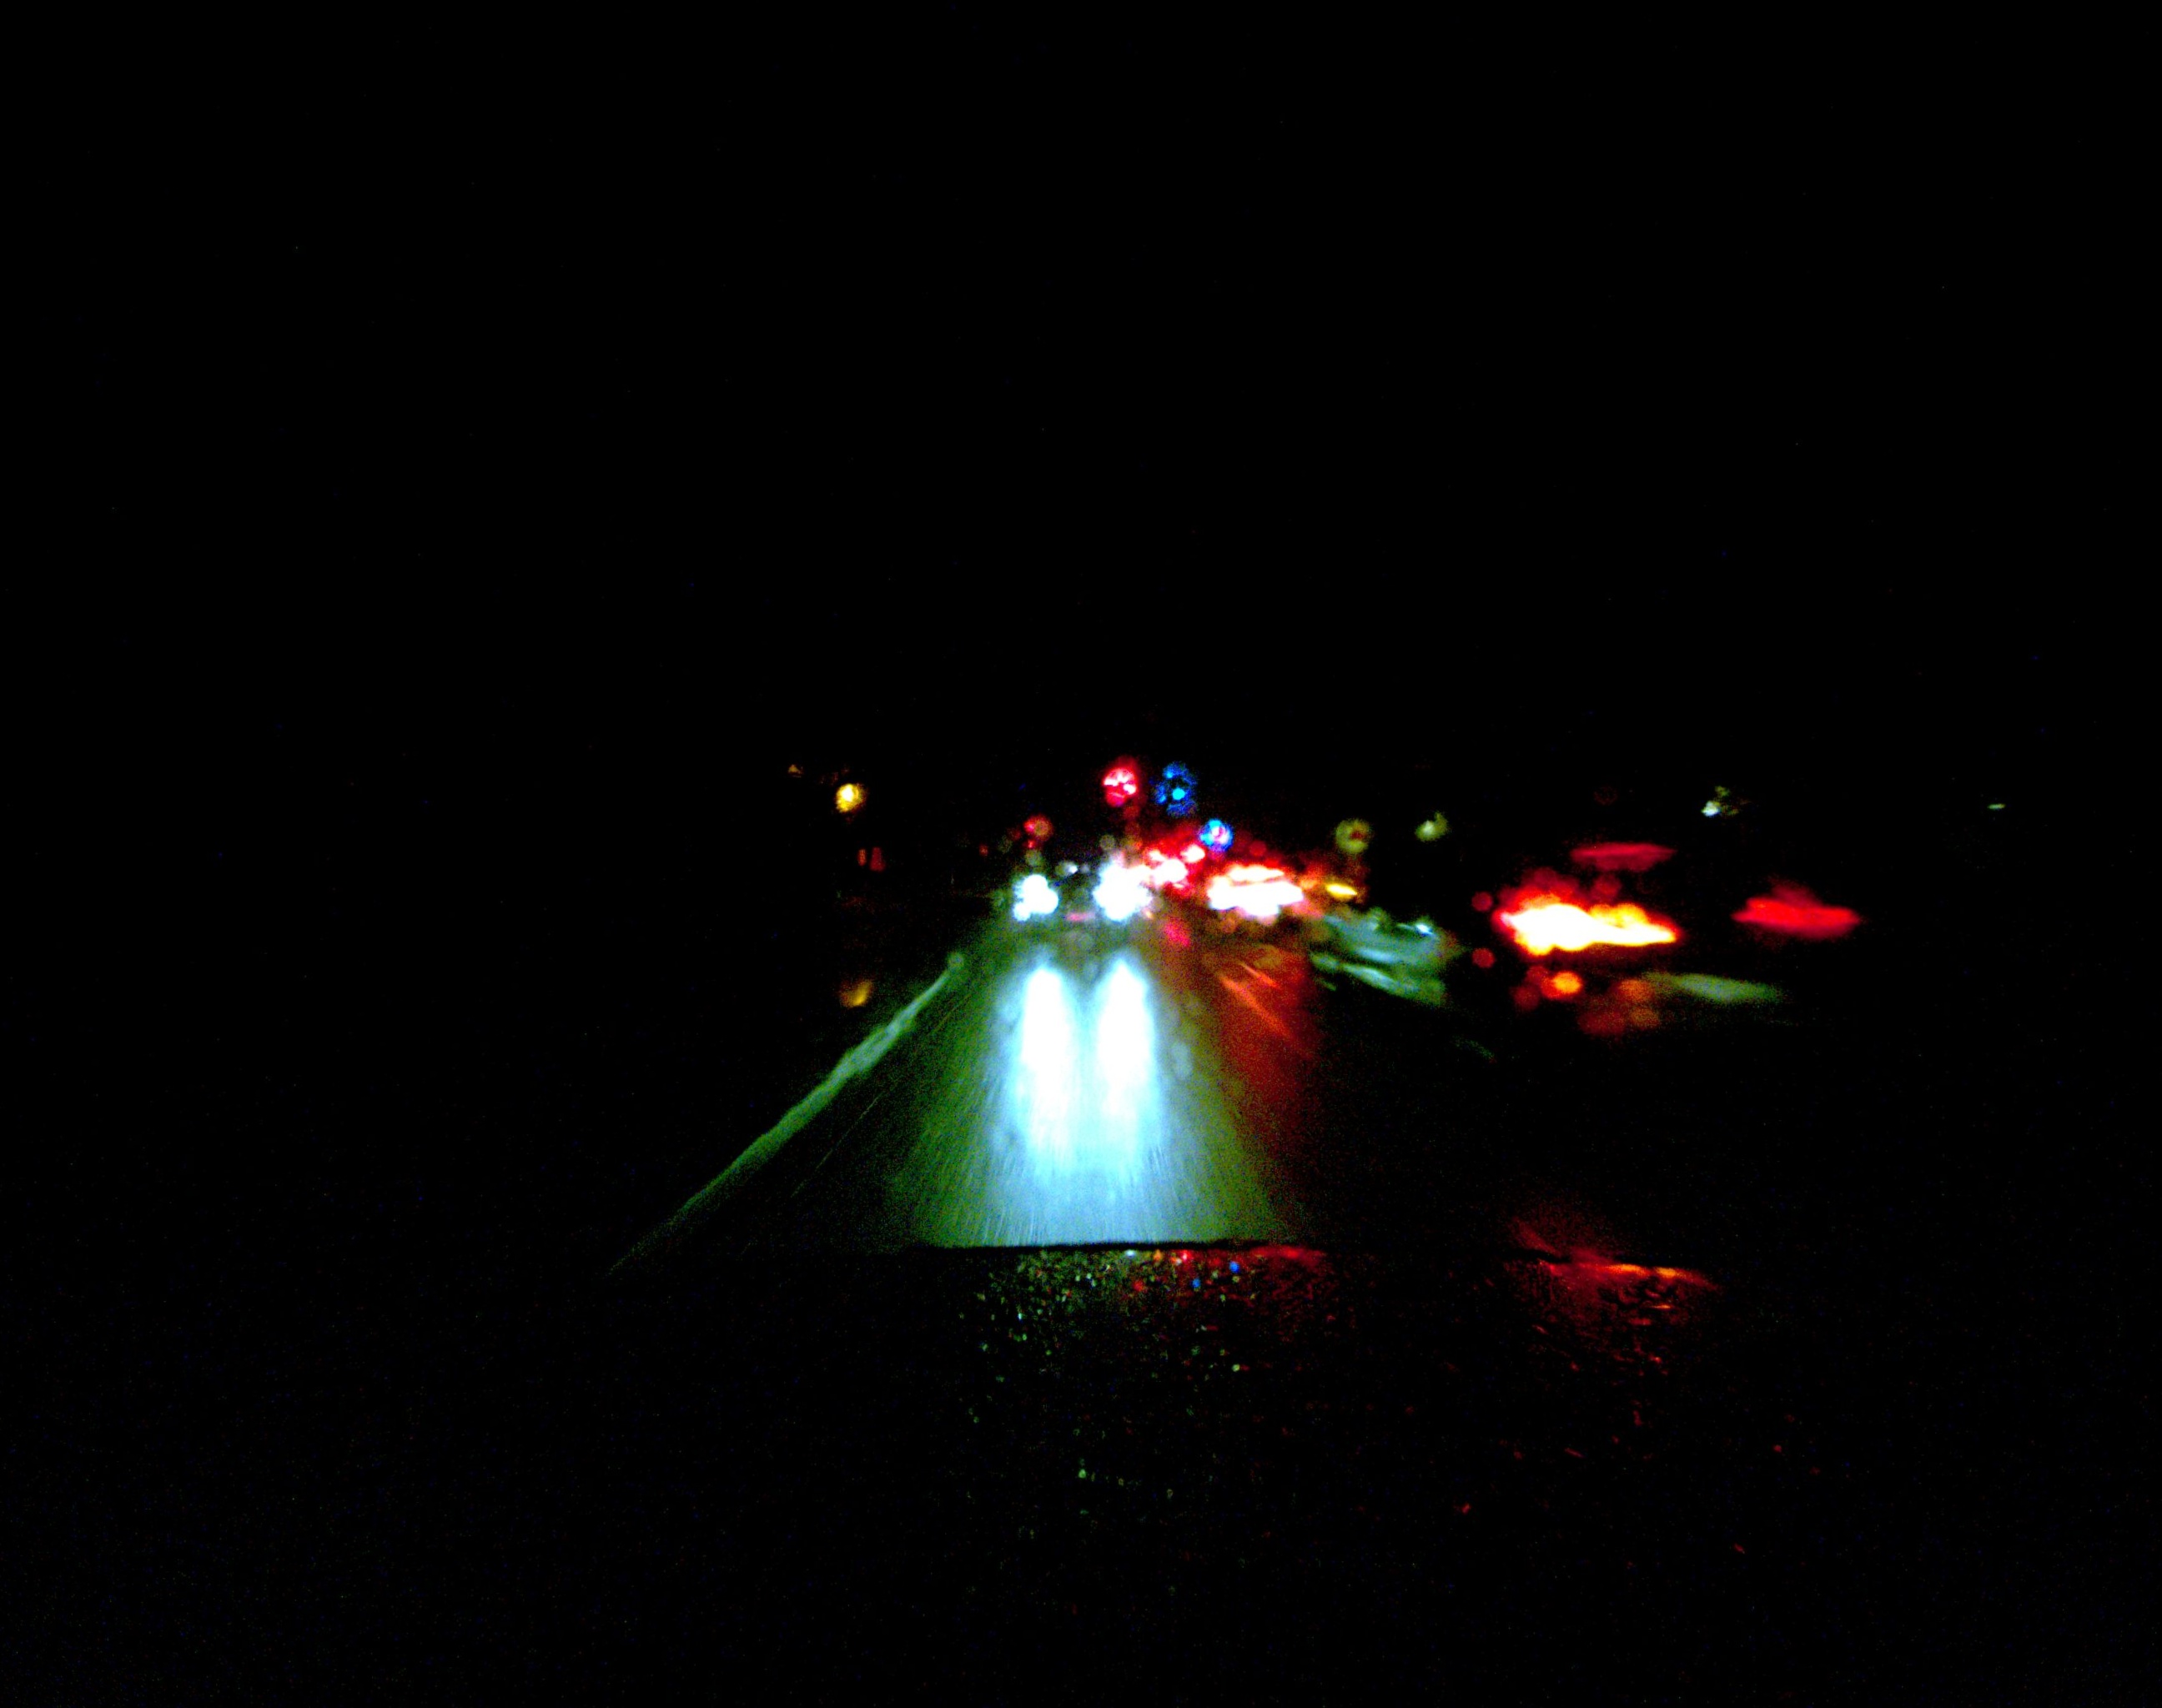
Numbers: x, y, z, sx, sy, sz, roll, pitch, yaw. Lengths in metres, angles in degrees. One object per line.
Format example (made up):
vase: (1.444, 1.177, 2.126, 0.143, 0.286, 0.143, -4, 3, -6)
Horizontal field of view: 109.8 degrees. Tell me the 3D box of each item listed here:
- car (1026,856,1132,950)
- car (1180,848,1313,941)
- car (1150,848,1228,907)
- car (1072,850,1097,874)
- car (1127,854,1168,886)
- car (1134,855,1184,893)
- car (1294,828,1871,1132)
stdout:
car: (-0.029, 0.874, 15.737, 1.810, 1.590, 4.786, -2, 0, 0)
car: (3.200, 0.717, 15.632, 1.848, 1.565, 4.597, -2, 0, 2)
car: (3.337, 0.692, 24.292, 1.848, 1.659, 4.445, -2, 0, 0)
car: (0.315, 0.655, 63.070, 1.759, 1.807, 4.711, -3, 0, 3)
car: (3.361, 0.791, 39.134, 1.673, 1.464, 3.633, -2, 0, -1)
car: (3.298, 0.830, 32.771, 1.626, 1.464, 3.884, -2, 0, -1)
car: (3.453, 0.704, 6.471, 1.810, 1.620, 4.414, -3, 0, -3)
